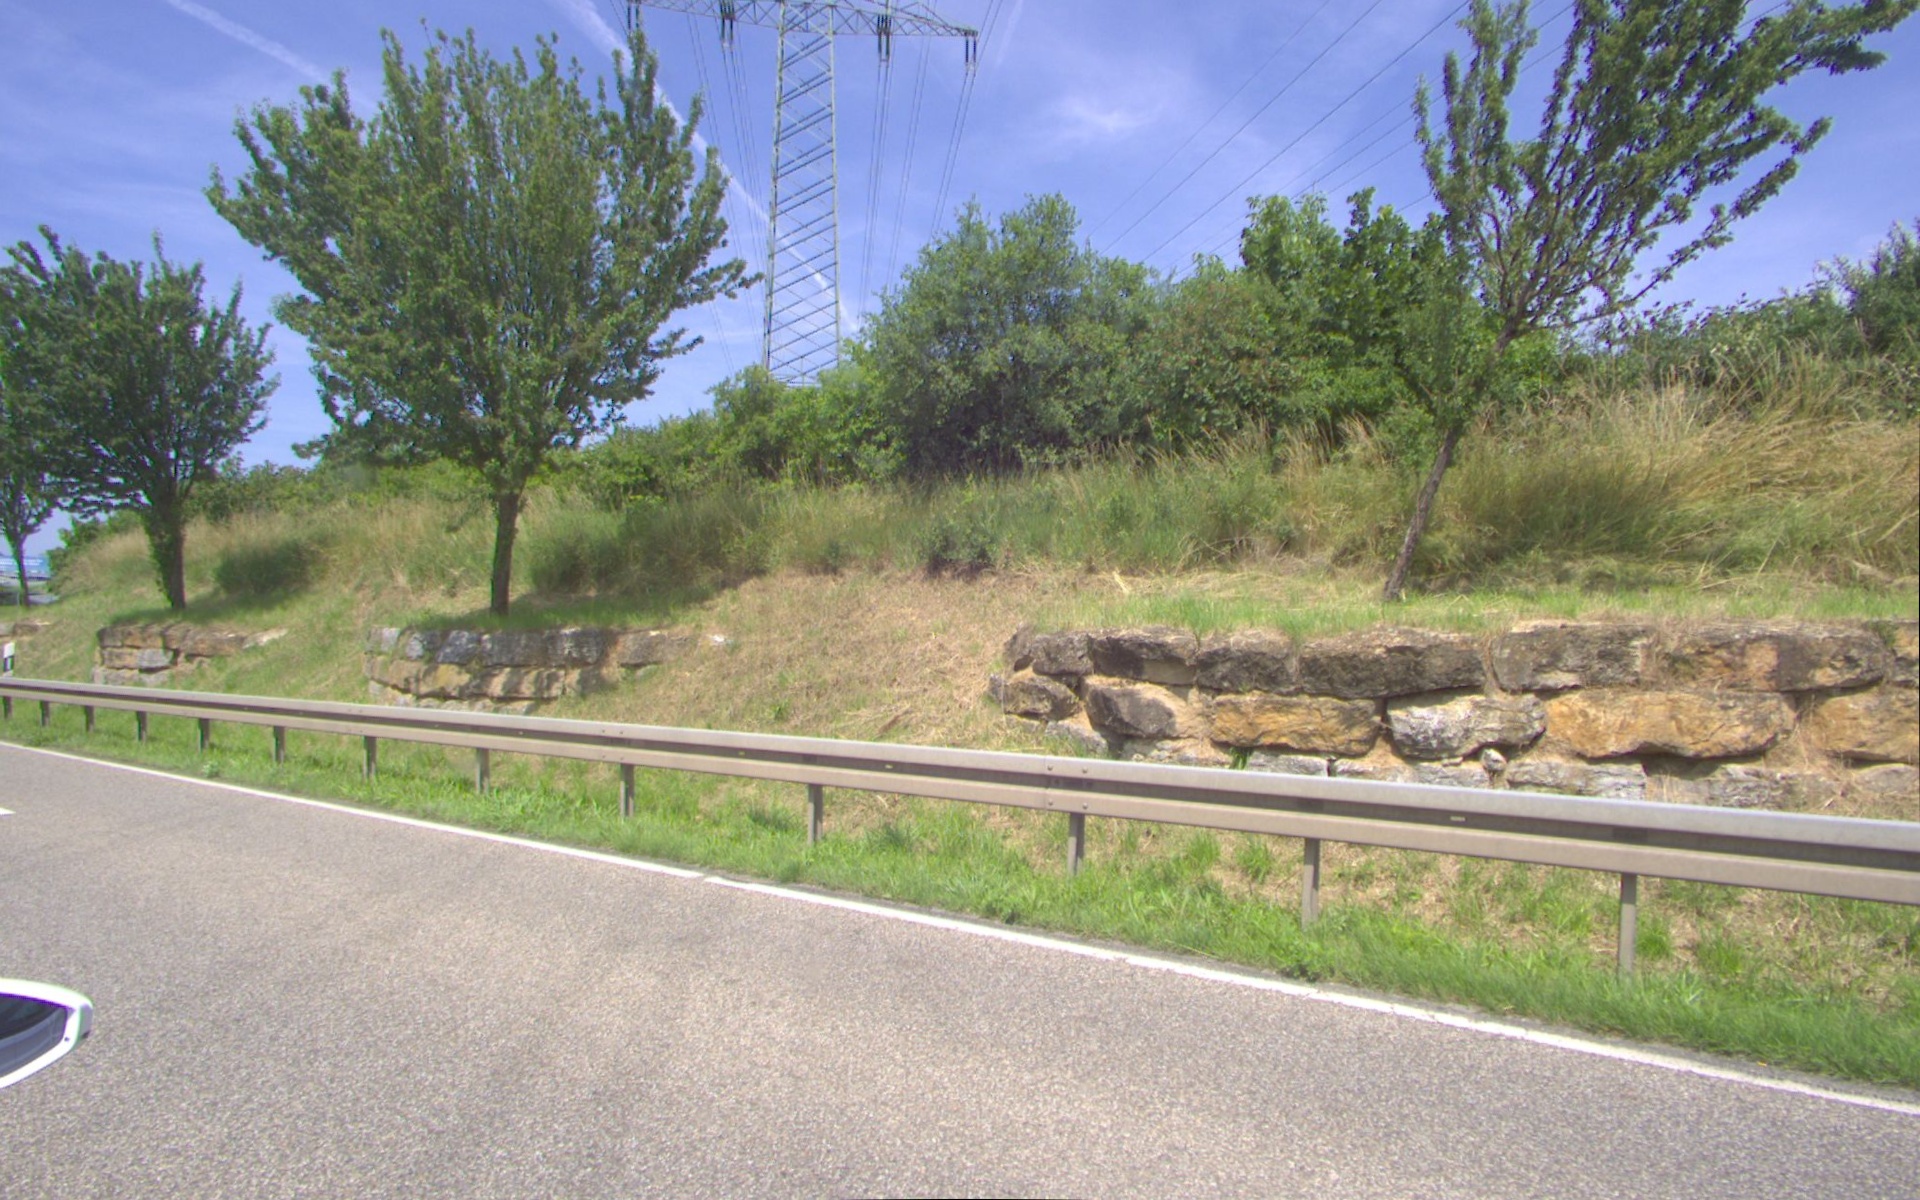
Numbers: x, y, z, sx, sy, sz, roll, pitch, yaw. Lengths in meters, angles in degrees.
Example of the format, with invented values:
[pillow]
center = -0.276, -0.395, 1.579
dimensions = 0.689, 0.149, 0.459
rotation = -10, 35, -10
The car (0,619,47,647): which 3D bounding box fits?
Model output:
[car]
center = -53.166, 1.832, 54.845
dimensions = 1.687, 1.530, 4.361
rotation = -1, -1, 23
